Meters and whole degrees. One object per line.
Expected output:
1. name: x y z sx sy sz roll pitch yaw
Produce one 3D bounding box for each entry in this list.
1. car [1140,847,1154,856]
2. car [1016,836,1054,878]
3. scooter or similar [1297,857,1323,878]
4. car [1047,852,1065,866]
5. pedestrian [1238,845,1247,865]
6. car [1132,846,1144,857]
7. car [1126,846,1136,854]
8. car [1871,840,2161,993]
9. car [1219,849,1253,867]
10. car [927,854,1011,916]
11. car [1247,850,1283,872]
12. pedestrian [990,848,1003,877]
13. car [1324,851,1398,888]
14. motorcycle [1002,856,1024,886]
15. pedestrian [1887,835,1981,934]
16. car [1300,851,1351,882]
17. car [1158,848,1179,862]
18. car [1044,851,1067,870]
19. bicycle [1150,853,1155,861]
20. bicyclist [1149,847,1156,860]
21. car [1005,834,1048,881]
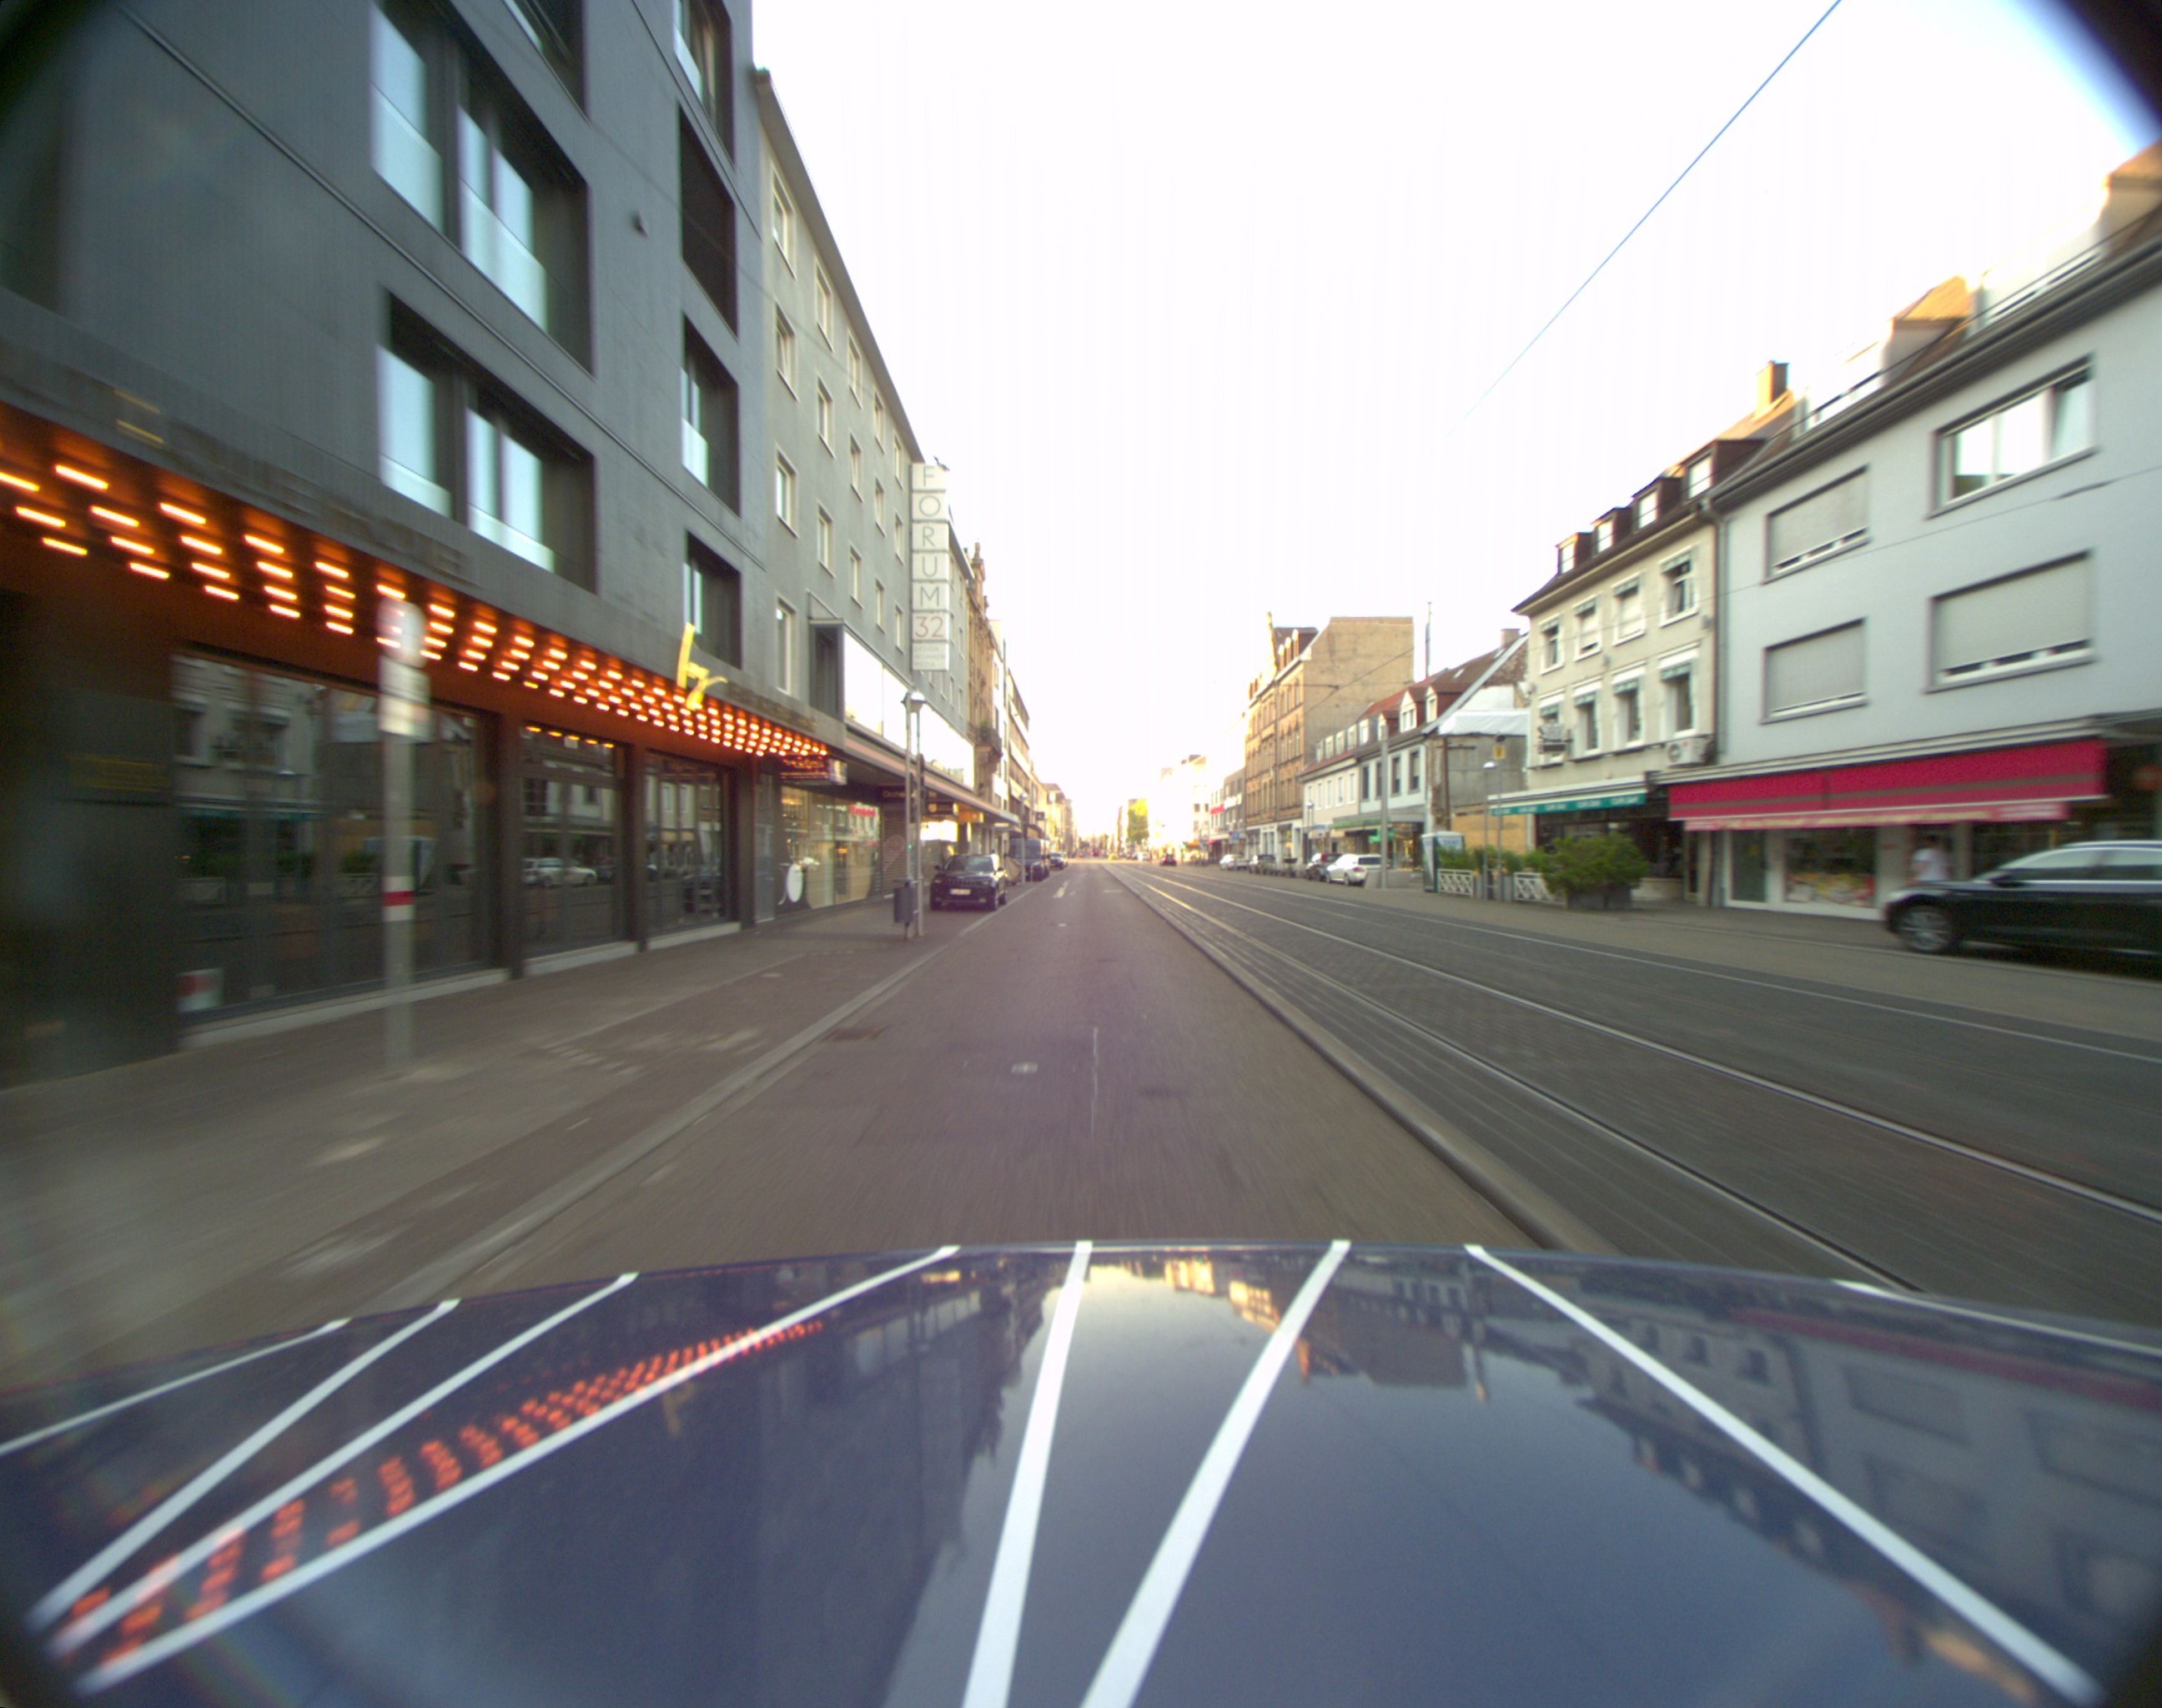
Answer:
1. car: 11.377 -0.416 131.918 1.999 1.434 3.999 -2 1 0
2. car: -2.985 0.154 50.521 1.998 2.559 5.604 -2 1 1
3. scooter or similar: 13.431 0.784 44.604 1.365 1.161 0.311 -2 1 3
4. car: -2.809 0.528 85.894 1.999 1.538 3.876 -2 0 -1
5. pedestrian: 16.250 0.103 76.587 0.748 2.002 1.049 -2 1 5
6. car: 11.027 -0.526 146.621 1.999 1.830 3.999 -2 2 0
7. car: 10.724 -0.904 163.436 1.999 1.685 3.999 -2 1 0
8. car: 13.347 0.701 9.592 1.998 1.687 4.588 -2 1 1
9. car: 14.087 0.337 69.265 1.999 1.412 4.402 -2 1 -2
10. car: -3.042 0.791 21.432 1.744 1.532 3.965 -1 1 0
11. car: 13.798 0.474 57.175 1.846 1.484 3.815 -2 1 1
12. pedestrian: -5.339 0.529 47.999 0.743 1.746 0.789 2 1 -3
13. car: 13.391 0.674 36.665 1.896 1.547 4.622 -2 1 1
14. motorcycle: -3.269 0.787 36.792 0.785 1.396 2.637 1 0 0
15. pedestrian: 15.830 0.547 14.120 0.819 1.772 0.818 -2 1 1
16. car: 13.334 0.655 41.603 1.660 1.562 3.470 -2 1 1
17. car: 10.450 0.057 91.118 1.999 1.554 3.999 -2 1 0
18. car: -2.456 0.562 72.979 1.998 1.663 3.876 -2 1 0
19. bicycle: 10.258 0.439 109.343 0.493 1.183 2.265 -2 1 0
20. bicyclist: 10.274 -0.050 109.282 0.882 1.795 0.900 -2 1 1
21. car: -3.096 0.163 44.219 2.080 2.434 5.603 -2 1 -1
